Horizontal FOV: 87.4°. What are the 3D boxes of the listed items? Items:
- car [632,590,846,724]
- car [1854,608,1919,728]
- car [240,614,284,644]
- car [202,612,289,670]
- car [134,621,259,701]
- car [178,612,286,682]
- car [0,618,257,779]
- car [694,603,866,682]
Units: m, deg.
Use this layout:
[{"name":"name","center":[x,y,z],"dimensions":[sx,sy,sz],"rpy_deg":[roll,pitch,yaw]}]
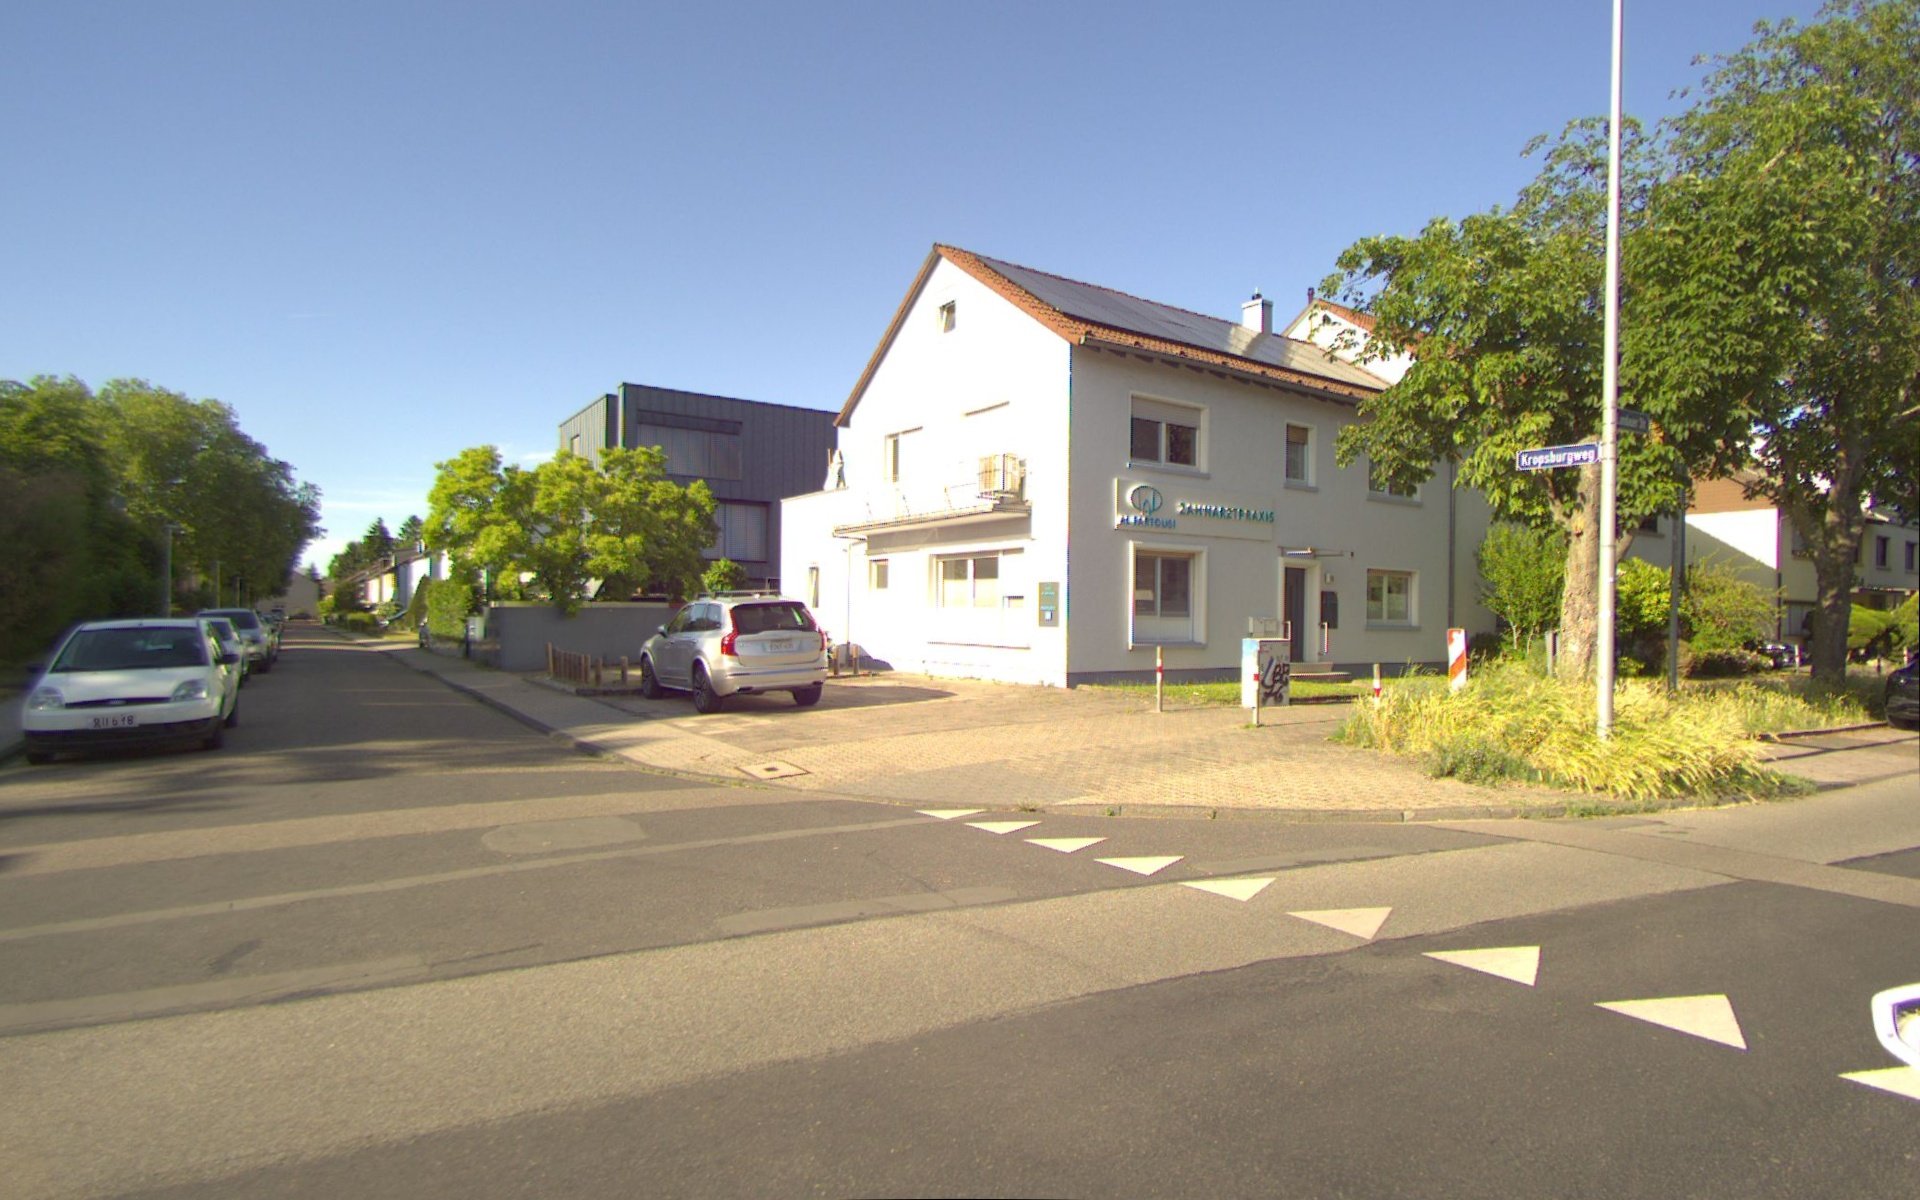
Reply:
[{"name":"car","center":[-3.824,0.830,16.776],"dimensions":[1.979,1.862,4.462],"rpy_deg":[-3,1,-33]},{"name":"car","center":[16.348,1.105,15.832],"dimensions":[4.818,1.749,1.944],"rpy_deg":[2,0,-30]},{"name":"car","center":[-40.392,1.659,58.203],"dimensions":[1.850,1.635,3.746],"rpy_deg":[-1,0,-32]},{"name":"car","center":[-22.294,1.225,31.465],"dimensions":[1.849,1.635,3.748],"rpy_deg":[-1,0,-30]},{"name":"car","center":[-15.787,1.189,20.948],"dimensions":[1.851,1.415,3.743],"rpy_deg":[-1,0,-34]},{"name":"car","center":[-18.777,1.141,26.056],"dimensions":[1.849,1.635,3.748],"rpy_deg":[-1,0,-30]},{"name":"car","center":[-9.539,0.987,11.822],"dimensions":[1.850,1.499,3.745],"rpy_deg":[-1,0,-32]},{"name":"car","center":[-4.156,0.946,22.625],"dimensions":[1.982,1.575,4.468],"rpy_deg":[0,-2,-37]}]
